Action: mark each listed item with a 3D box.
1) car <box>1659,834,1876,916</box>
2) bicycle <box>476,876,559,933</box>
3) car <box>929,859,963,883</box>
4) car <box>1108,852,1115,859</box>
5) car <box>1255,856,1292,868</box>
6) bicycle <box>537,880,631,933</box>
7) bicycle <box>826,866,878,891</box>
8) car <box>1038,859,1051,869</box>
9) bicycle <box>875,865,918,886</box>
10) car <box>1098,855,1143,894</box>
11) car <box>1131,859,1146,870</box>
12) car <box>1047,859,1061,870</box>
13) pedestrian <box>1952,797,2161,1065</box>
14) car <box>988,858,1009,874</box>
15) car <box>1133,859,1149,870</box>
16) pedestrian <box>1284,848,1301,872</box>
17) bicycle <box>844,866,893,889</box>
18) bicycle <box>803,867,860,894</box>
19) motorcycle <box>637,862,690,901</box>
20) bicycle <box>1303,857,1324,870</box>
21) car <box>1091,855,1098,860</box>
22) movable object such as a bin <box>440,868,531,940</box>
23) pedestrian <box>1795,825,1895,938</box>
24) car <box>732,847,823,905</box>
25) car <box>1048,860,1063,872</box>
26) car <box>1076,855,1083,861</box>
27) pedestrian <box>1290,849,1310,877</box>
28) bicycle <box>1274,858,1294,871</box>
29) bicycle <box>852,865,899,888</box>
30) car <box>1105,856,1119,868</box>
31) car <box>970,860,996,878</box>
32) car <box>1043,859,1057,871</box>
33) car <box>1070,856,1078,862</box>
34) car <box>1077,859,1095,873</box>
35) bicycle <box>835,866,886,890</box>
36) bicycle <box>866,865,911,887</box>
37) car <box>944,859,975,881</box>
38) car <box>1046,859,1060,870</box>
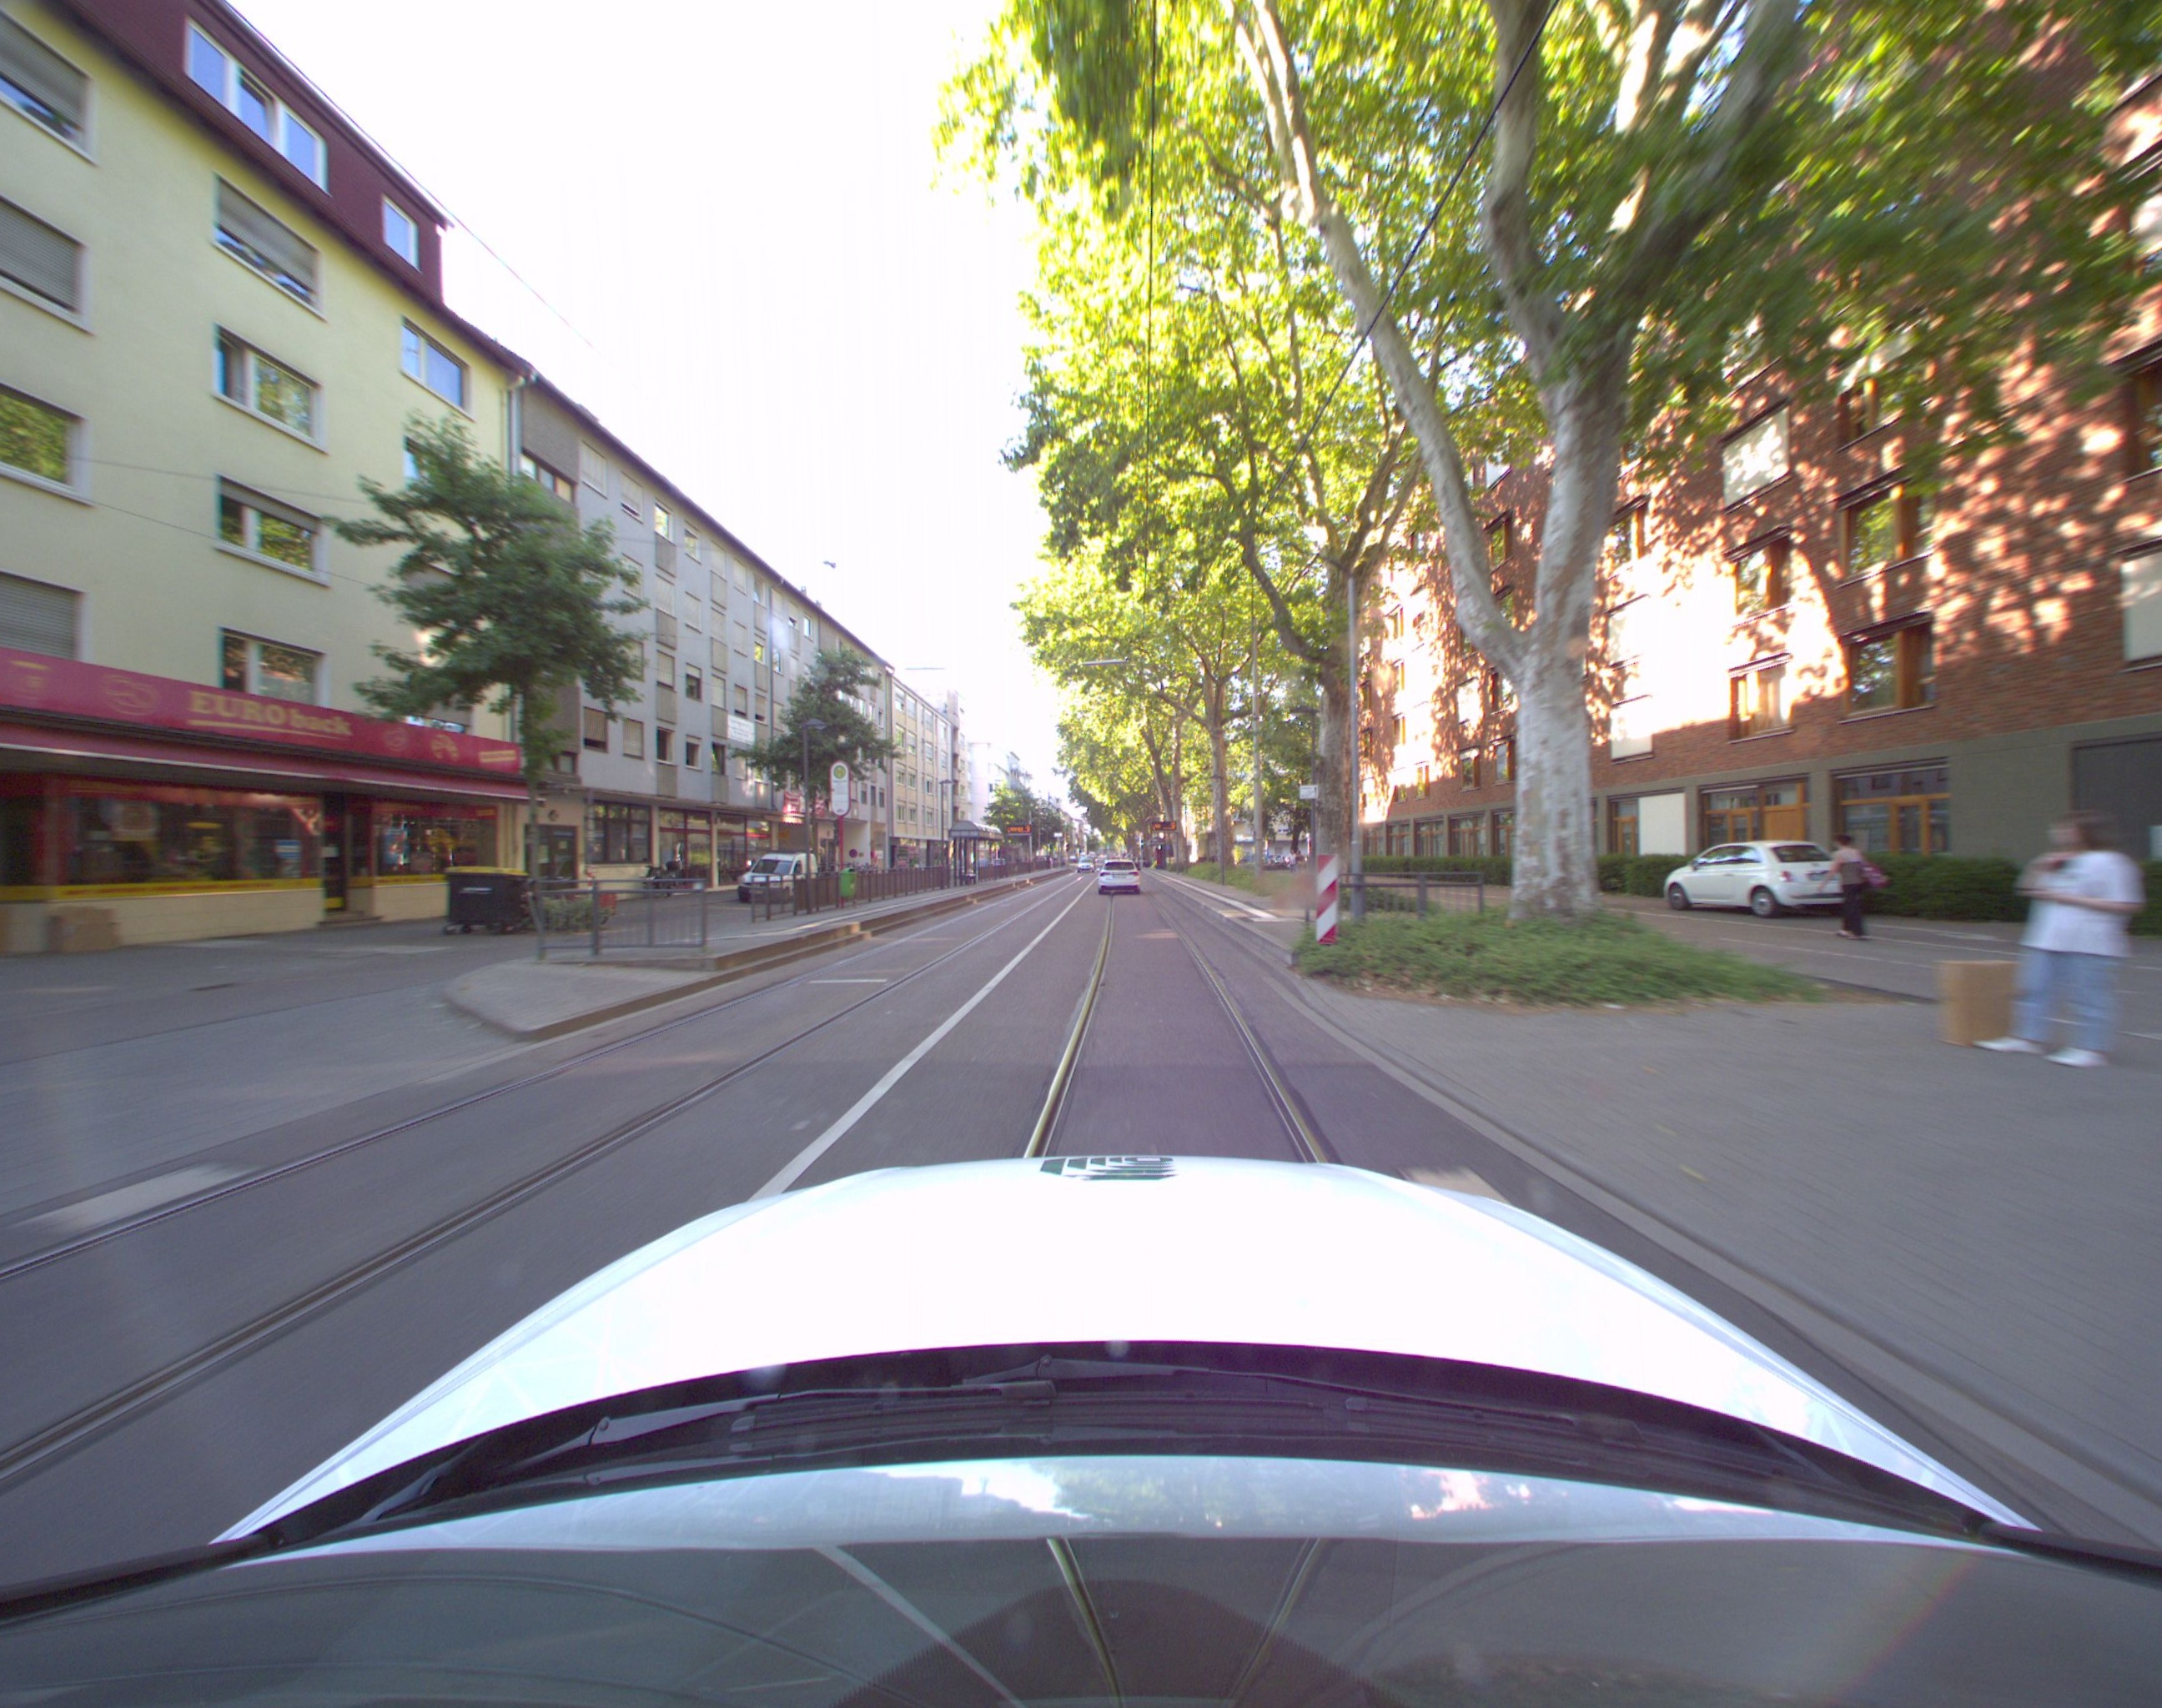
[{"bbox_3d":[13.883,0.396,16.741,1.595,1.495,3.417,-1,0,1],"label":"car"},{"bbox_3d":[-12.218,1.065,17.727,0.497,1.107,1.800,3,0,0],"label":"bicycle"},{"bbox_3d":[-9.574,1.191,58.021,1.587,1.548,4.002,1,0,2],"label":"car"},{"bbox_3d":[8.901,0.504,235.880,1.859,1.892,4.002,-1,0,2],"label":"car"},{"bbox_3d":[22.646,0.935,96.077,3.969,1.372,1.869,-1,0,4],"label":"car"},{"bbox_3d":[-11.174,1.170,18.365,1.528,1.075,0.886,2,0,1],"label":"bicycle"},{"bbox_3d":[-10.793,1.159,38.373,2.243,1.074,0.637,2,0,3],"label":"bicycle"},{"bbox_3d":[-5.748,1.563,128.271,1.671,1.548,4.002,1,0,2],"label":"car"},{"bbox_3d":[-10.440,1.218,46.166,2.243,1.074,0.637,2,0,3],"label":"bicycle"},{"bbox_3d":[1.653,0.820,34.366,1.781,1.513,4.002,-1,0,2],"label":"car"},{"bbox_3d":[8.090,1.501,115.285,1.986,1.453,4.002,-1,0,2],"label":"car"},{"bbox_3d":[-4.065,1.617,124.863,1.787,1.510,4.002,1,0,2],"label":"car"},{"bbox_3d":[6.581,0.483,5.461,0.650,1.669,0.738,-1,-1,2],"label":"pedestrian"},{"bbox_3d":[-8.714,1.264,86.523,1.671,1.548,4.002,1,0,2],"label":"car"},{"bbox_3d":[8.055,1.365,110.196,1.986,1.453,4.002,-1,0,2],"label":"car"},{"bbox_3d":[14.427,0.423,55.555,0.968,1.623,0.888,-1,-1,2],"label":"pedestrian"},{"bbox_3d":[-10.655,1.167,40.864,2.243,1.074,0.637,2,0,3],"label":"bicycle"},{"bbox_3d":[-10.863,1.139,35.521,2.243,1.074,0.637,2,0,3],"label":"bicycle"},{"bbox_3d":[-14.618,0.942,28.585,0.596,1.311,2.223,-1,0,2],"label":"motorcycle"},{"bbox_3d":[19.103,0.789,66.905,1.552,1.037,0.482,-1,-1,23],"label":"bicycle"},{"bbox_3d":[3.828,1.017,230.231,1.781,1.513,4.002,-1,0,2],"label":"car"},{"bbox_3d":[-11.911,0.994,16.316,1.167,1.348,0.782,3,-1,-2],"label":"movable object such as a bin"},{"bbox_3d":[11.782,0.408,12.588,0.733,1.669,0.835,-1,-1,2],"label":"pedestrian"},{"bbox_3d":[-10.945,0.747,29.666,1.681,1.940,4.002,-1,0,2],"label":"car"},{"bbox_3d":[-3.331,1.540,108.677,1.671,1.548,4.002,1,0,2],"label":"car"},{"bbox_3d":[-0.455,1.130,238.127,1.781,1.513,4.002,-1,0,2],"label":"car"},{"bbox_3d":[13.125,0.535,48.753,0.968,1.623,0.888,-1,-1,2],"label":"pedestrian"},{"bbox_3d":[16.864,0.869,67.716,1.552,1.037,0.507,-1,0,23],"label":"bicycle"},{"bbox_3d":[-10.731,1.181,42.615,2.243,1.074,0.637,2,0,3],"label":"bicycle"},{"bbox_3d":[4.213,1.061,109.554,1.781,1.513,4.002,-1,0,2],"label":"car"},{"bbox_3d":[-8.910,1.306,74.282,1.671,1.548,4.002,1,0,2],"label":"car"},{"bbox_3d":[-4.421,1.558,116.486,1.671,1.548,4.002,1,0,2],"label":"car"},{"bbox_3d":[-1.730,1.322,204.271,1.781,1.513,4.002,-1,0,2],"label":"car"},{"bbox_3d":[0.567,1.211,82.816,1.687,1.419,4.002,-1,0,2],"label":"car"},{"bbox_3d":[-10.718,1.159,39.601,2.243,1.074,0.637,2,0,3],"label":"bicycle"},{"bbox_3d":[-10.507,1.206,44.441,2.243,1.074,0.637,2,0,3],"label":"bicycle"},{"bbox_3d":[-9.341,1.225,63.020,1.587,1.548,4.002,1,0,2],"label":"car"},{"bbox_3d":[-4.129,1.589,120.604,1.671,1.548,4.002,1,0,2],"label":"car"}]
